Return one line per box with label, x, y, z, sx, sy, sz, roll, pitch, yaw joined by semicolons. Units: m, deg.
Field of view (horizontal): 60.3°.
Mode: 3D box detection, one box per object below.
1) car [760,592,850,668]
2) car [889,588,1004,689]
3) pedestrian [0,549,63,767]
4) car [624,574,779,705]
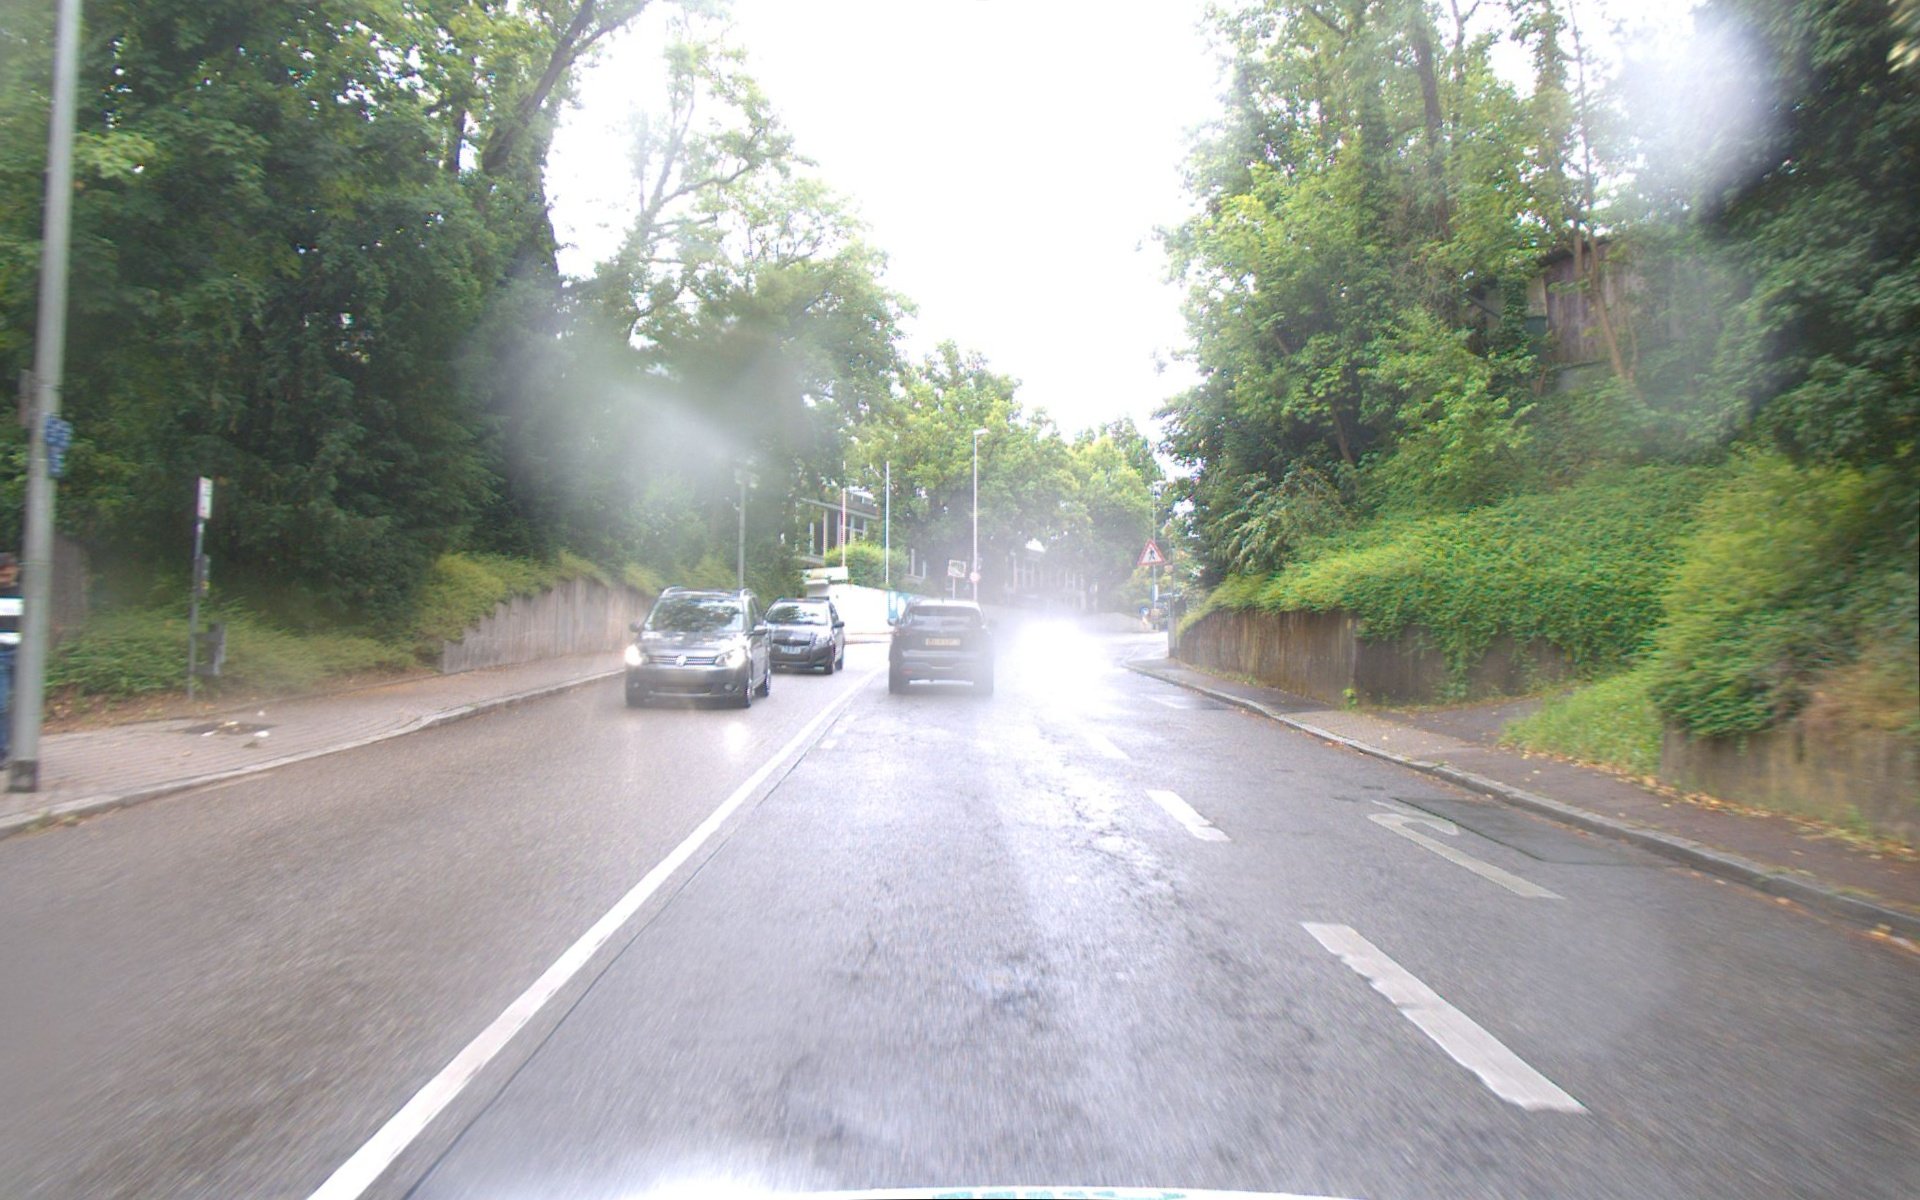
car;-3.217;0.600;34.884;1.641;1.522;3.459;1;0;-1
car;-0.250;0.633;29.332;1.889;1.641;3.999;0;0;-1
pedestrian;-7.520;0.444;13.017;0.701;1.673;0.704;1;0;-37
car;-3.718;0.533;24.411;1.794;1.741;3.998;1;0;-2
